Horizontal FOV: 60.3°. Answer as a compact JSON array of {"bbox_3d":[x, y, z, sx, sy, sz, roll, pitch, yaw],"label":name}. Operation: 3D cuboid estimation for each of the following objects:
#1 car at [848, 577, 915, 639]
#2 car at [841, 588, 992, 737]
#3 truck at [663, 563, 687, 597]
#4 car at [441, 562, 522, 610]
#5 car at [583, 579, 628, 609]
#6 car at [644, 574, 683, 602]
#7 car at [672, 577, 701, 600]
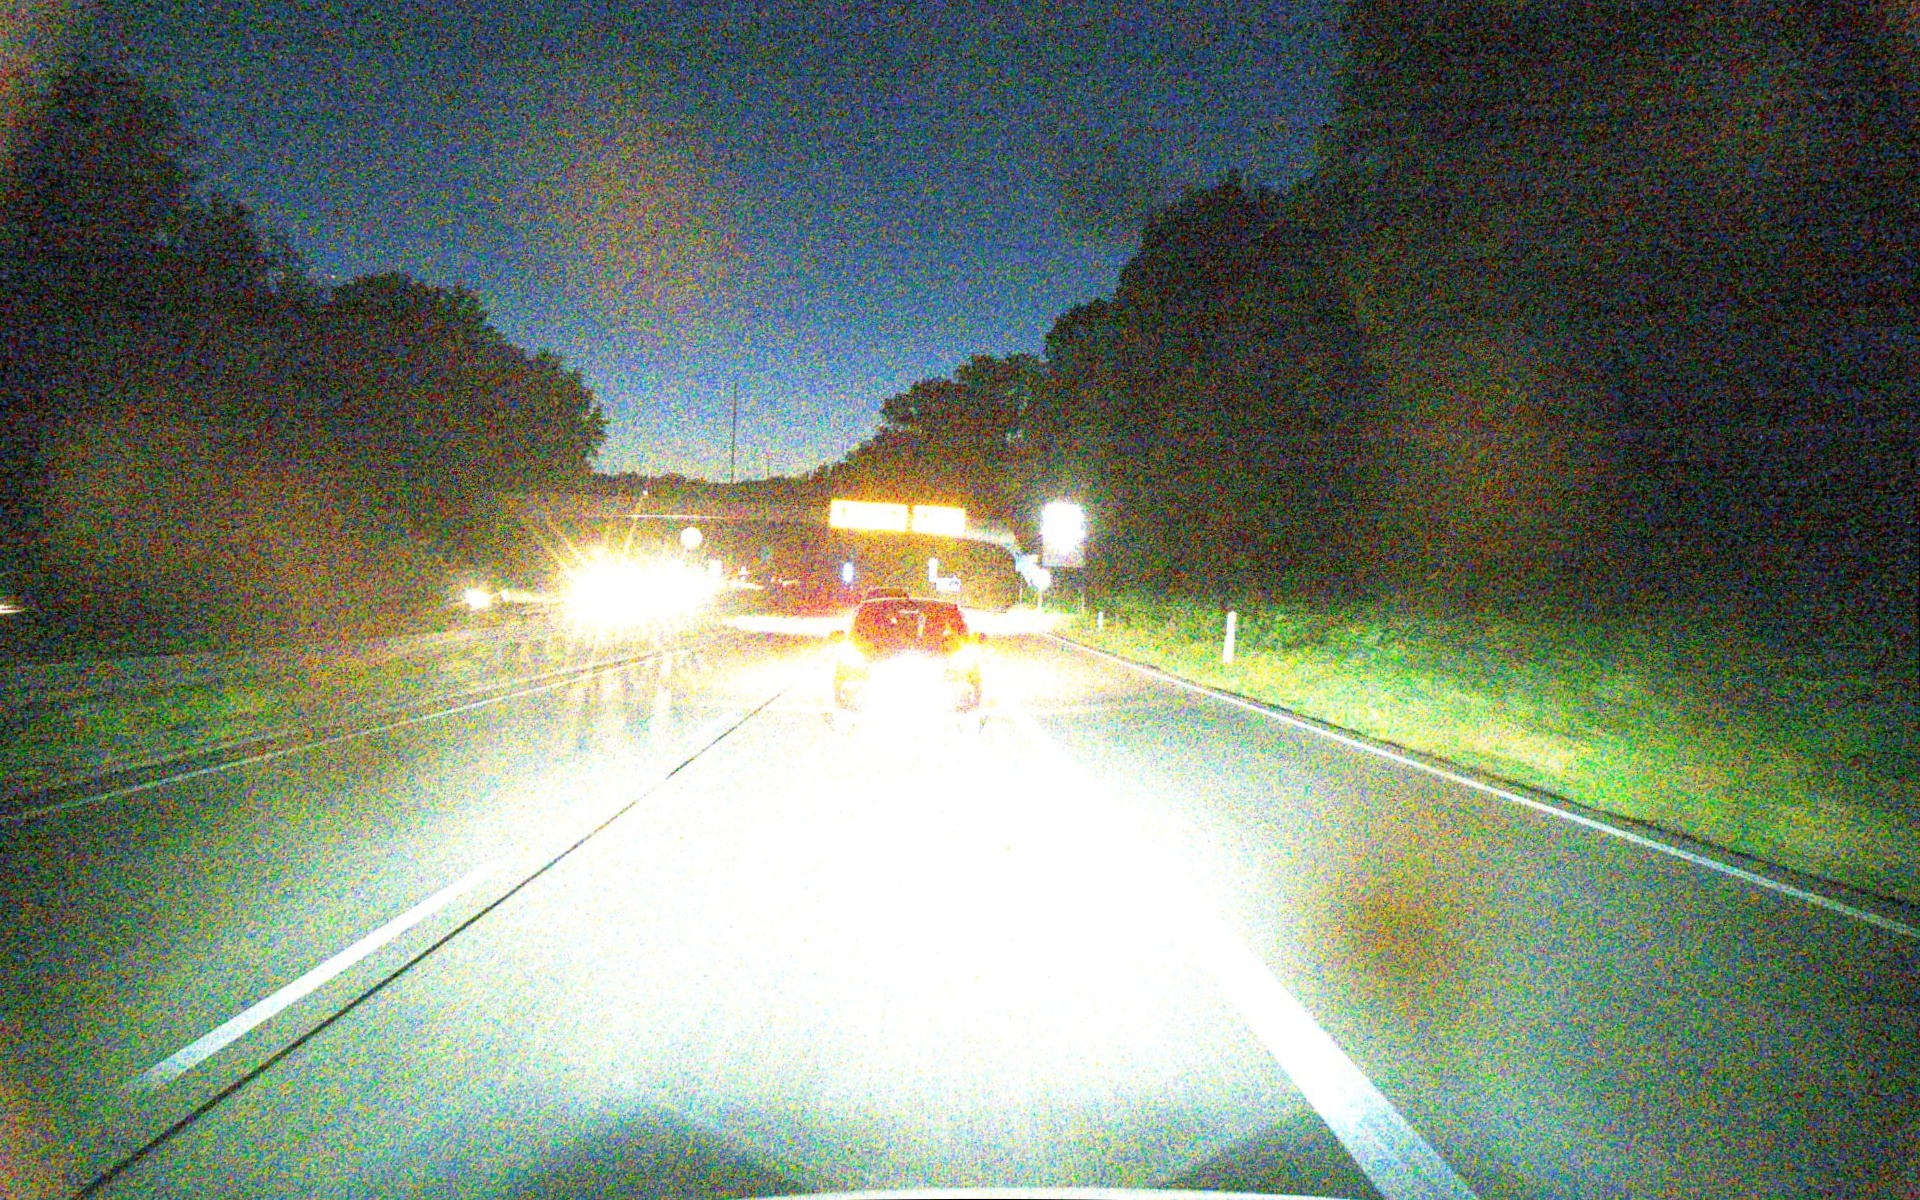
[{"bbox_3d":[-2.388,0.210,50.578,1.868,1.727,3.999,4,1,-2],"label":"car"},{"bbox_3d":[-0.566,0.643,19.193,1.557,1.534,3.997,0,0,-3],"label":"car"},{"bbox_3d":[-37.985,-2.687,220.285,2.580,4.305,8.570,4,0,-12],"label":"truck"},{"bbox_3d":[-17.298,-0.479,59.998,1.824,1.541,3.998,5,0,-3],"label":"car"},{"bbox_3d":[-19.050,-0.329,89.026,1.694,1.543,4.156,2,0,-3],"label":"car"},{"bbox_3d":[-20.284,-0.815,113.384,1.928,1.794,5.030,2,0,-3],"label":"car"},{"bbox_3d":[-25.534,-1.116,154.354,2.316,2.049,5.026,2,0,-6],"label":"car"}]
